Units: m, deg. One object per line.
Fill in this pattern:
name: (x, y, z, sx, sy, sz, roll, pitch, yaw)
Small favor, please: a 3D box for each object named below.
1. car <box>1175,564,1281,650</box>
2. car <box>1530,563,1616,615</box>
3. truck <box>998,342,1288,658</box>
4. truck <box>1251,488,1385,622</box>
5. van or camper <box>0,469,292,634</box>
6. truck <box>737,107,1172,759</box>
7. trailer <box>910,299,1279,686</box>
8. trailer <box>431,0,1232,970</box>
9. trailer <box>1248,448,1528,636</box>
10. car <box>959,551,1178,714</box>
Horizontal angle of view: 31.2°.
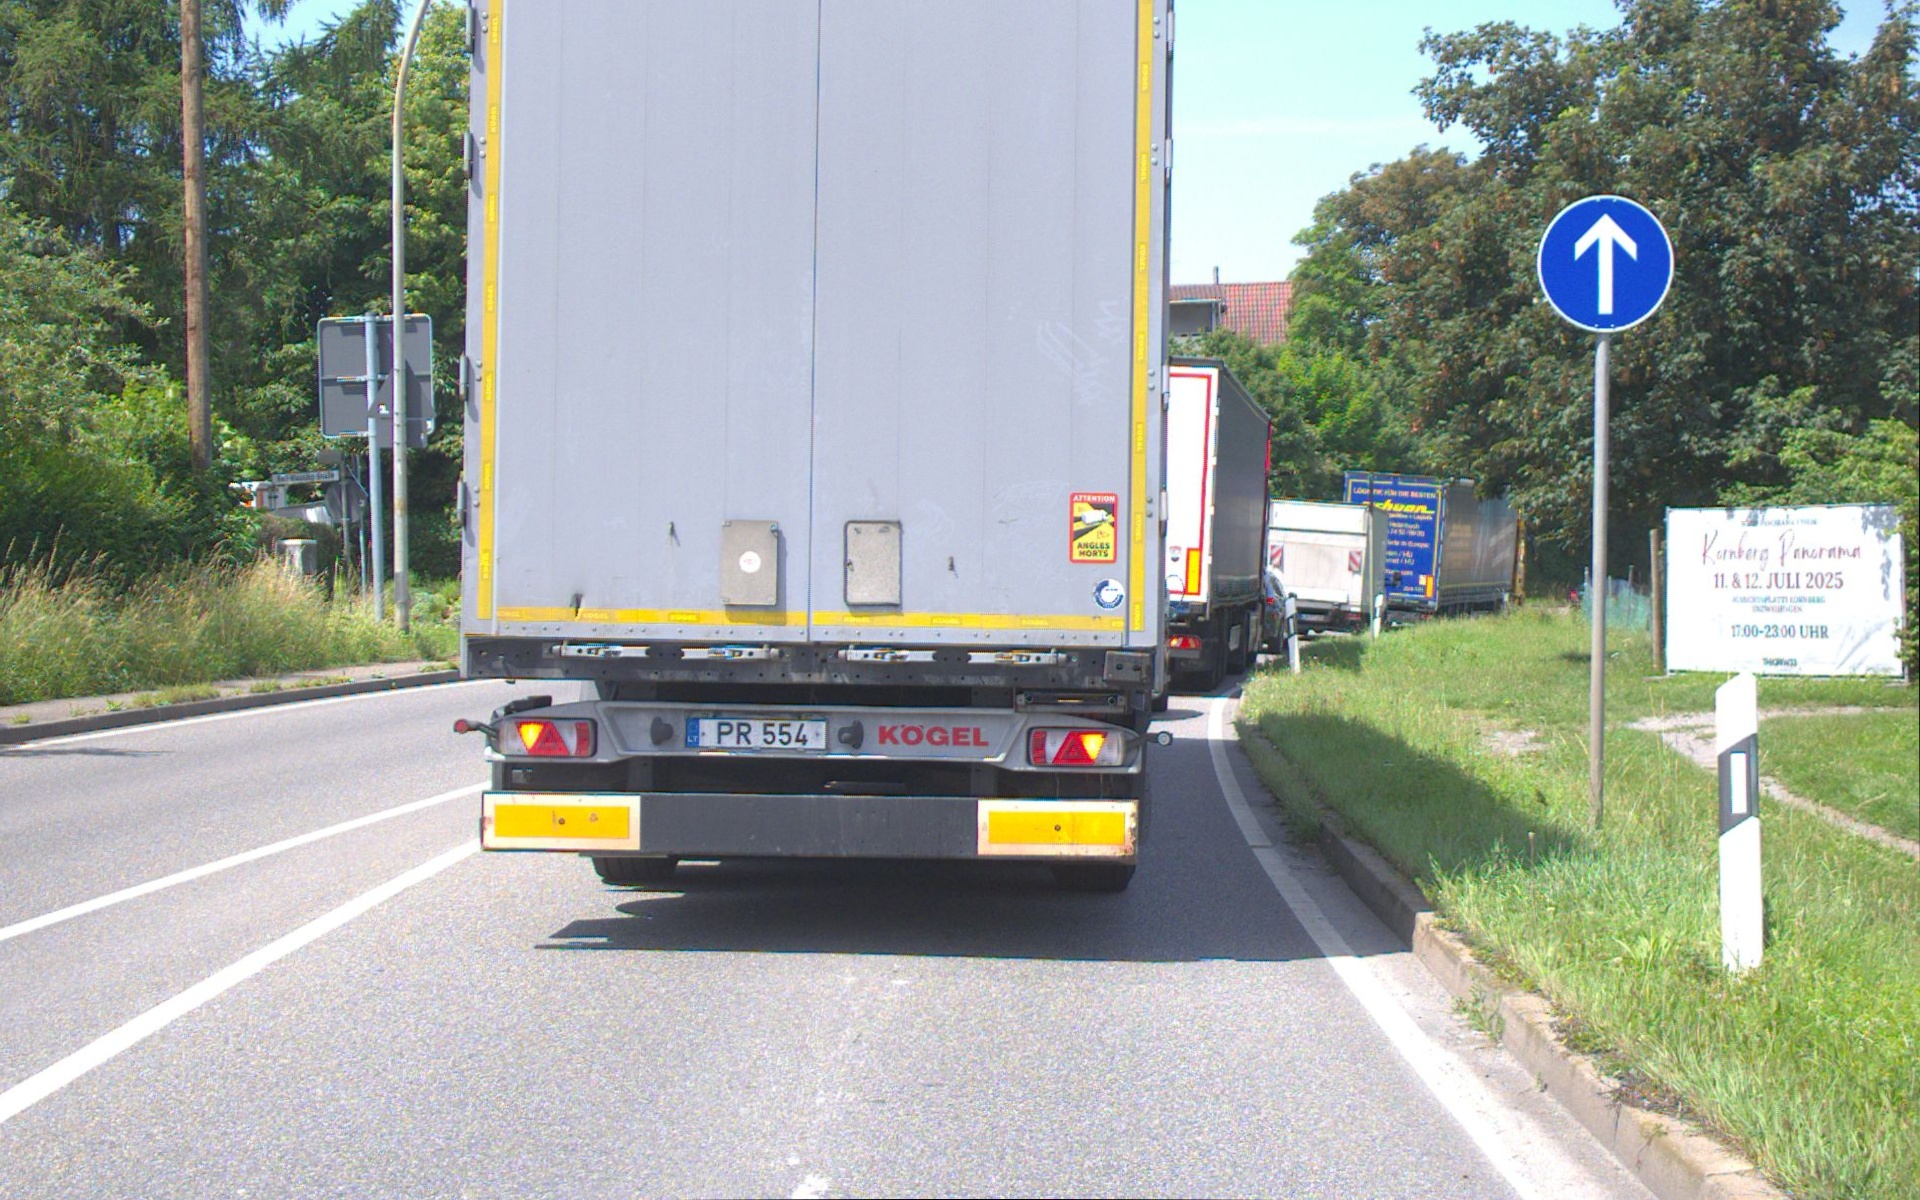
car: (5.075, 0.104, 64.687, 1.841, 1.481, 3.999, 1, 1, 6)
car: (20.727, -0.383, 116.141, 1.996, 1.678, 3.995, 1, 1, 23)
truck: (2.982, -1.508, 53.446, 3.938, 4.559, 7.150, 1, 1, 7)
truck: (7.969, -1.022, 76.072, 2.421, 2.828, 5.410, 1, 1, 11)
van or camper: (-14.017, -0.843, 58.530, 4.855, 2.706, 2.198, 1, 1, -1)
truck: (0.118, -1.151, 25.153, 2.746, 4.151, 6.142, 1, 1, 3)
trailer: (2.143, -1.352, 46.589, 3.892, 4.505, 12.710, 1, 1, 7)
trailer: (-0.209, -0.964, 18.160, 2.787, 4.191, 12.111, 1, 1, 2)
trailer: (11.895, -1.615, 93.322, 5.183, 4.612, 15.884, 1, 1, 16)
car: (1.187, 0.290, 35.600, 1.994, 1.525, 3.999, 1, 1, 5)
